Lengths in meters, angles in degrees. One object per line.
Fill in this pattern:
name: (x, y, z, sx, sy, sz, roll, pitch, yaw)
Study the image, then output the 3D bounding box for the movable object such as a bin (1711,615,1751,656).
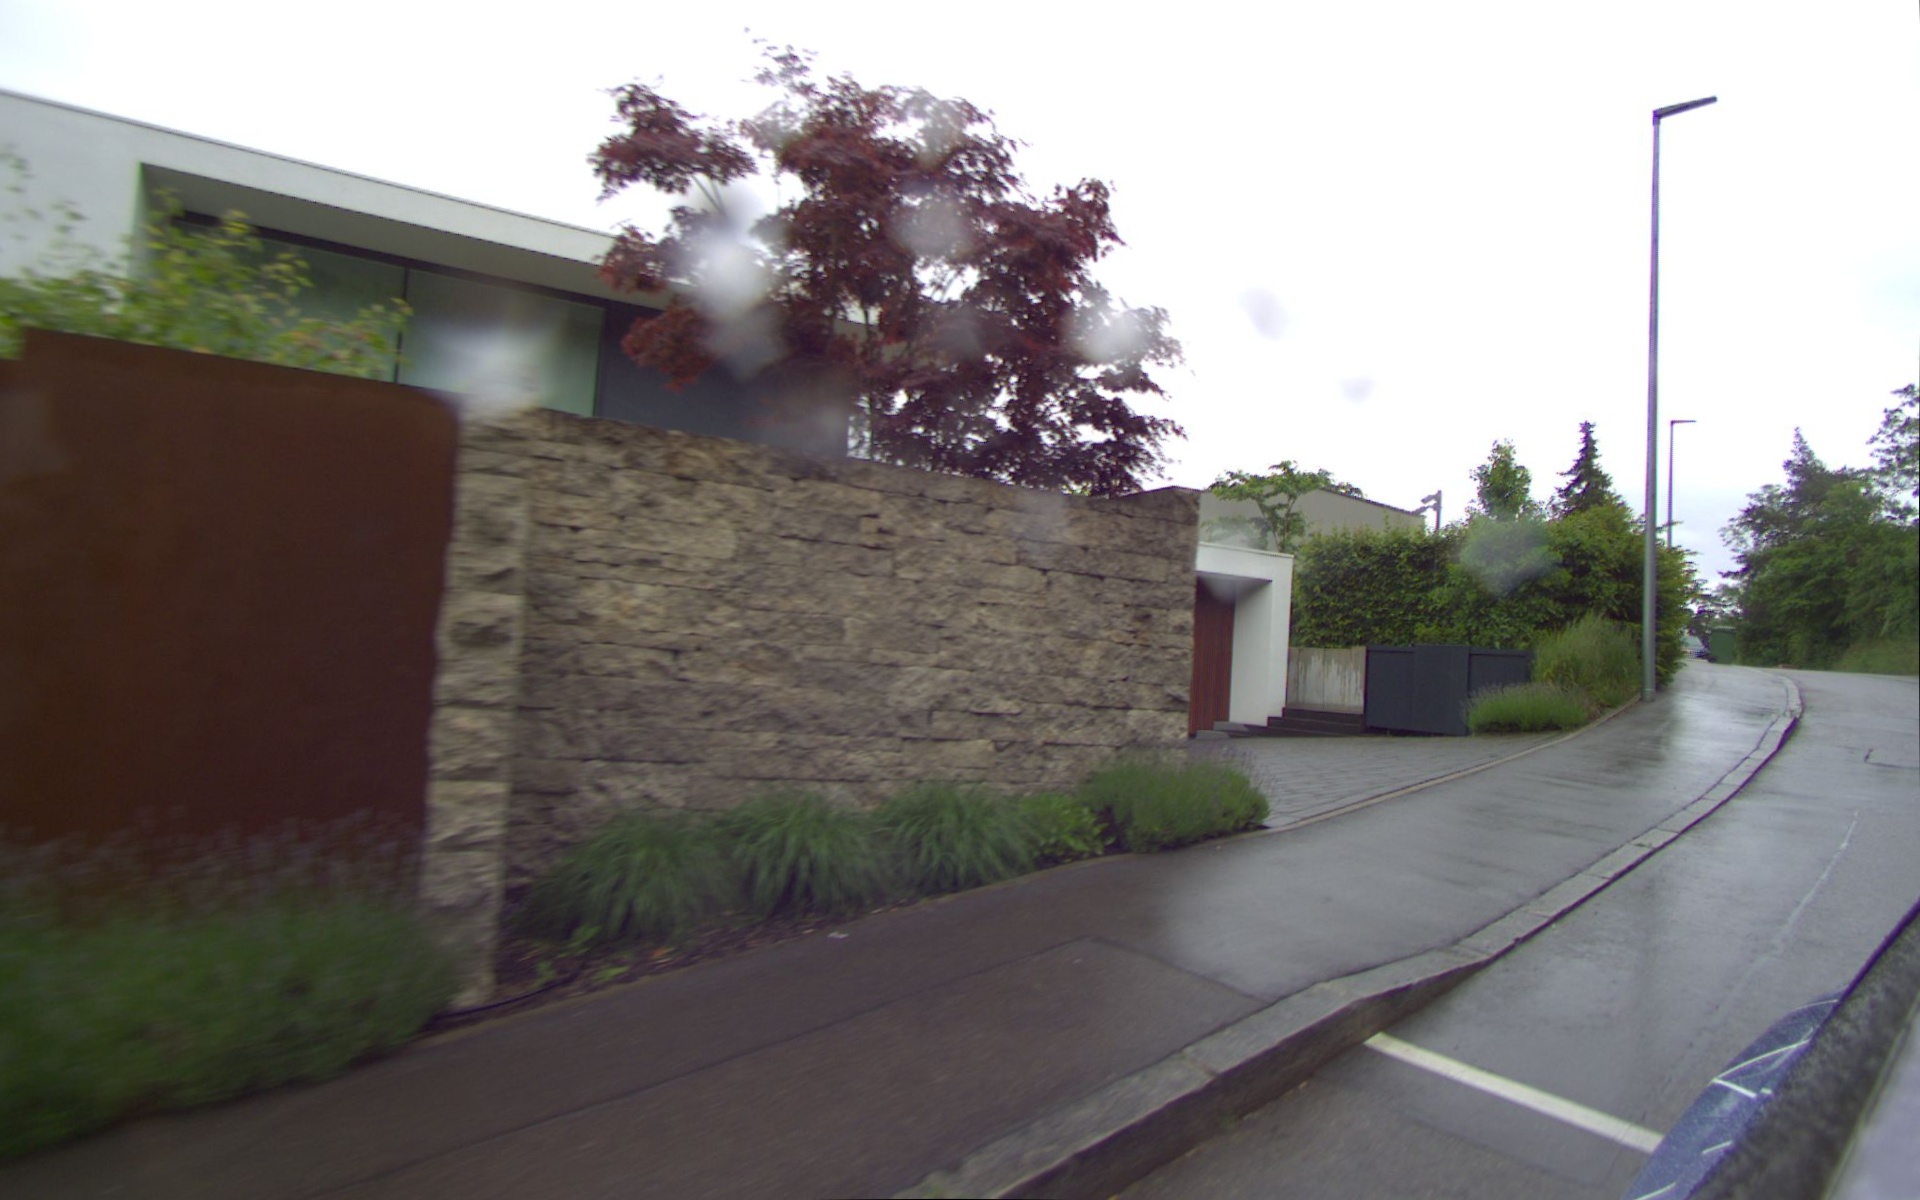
movable object such as a bin: (22.738, 1.057, 29.845, 0.787, 1.109, 0.667, 6, 1, 33)

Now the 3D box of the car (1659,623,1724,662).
car: (34.602, 2.046, 47.967, 1.865, 1.612, 4.432, 2, -3, 28)

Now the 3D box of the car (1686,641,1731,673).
car: (54.145, 4.168, 73.289, 2.103, 2.000, 5.111, 3, -3, 32)
